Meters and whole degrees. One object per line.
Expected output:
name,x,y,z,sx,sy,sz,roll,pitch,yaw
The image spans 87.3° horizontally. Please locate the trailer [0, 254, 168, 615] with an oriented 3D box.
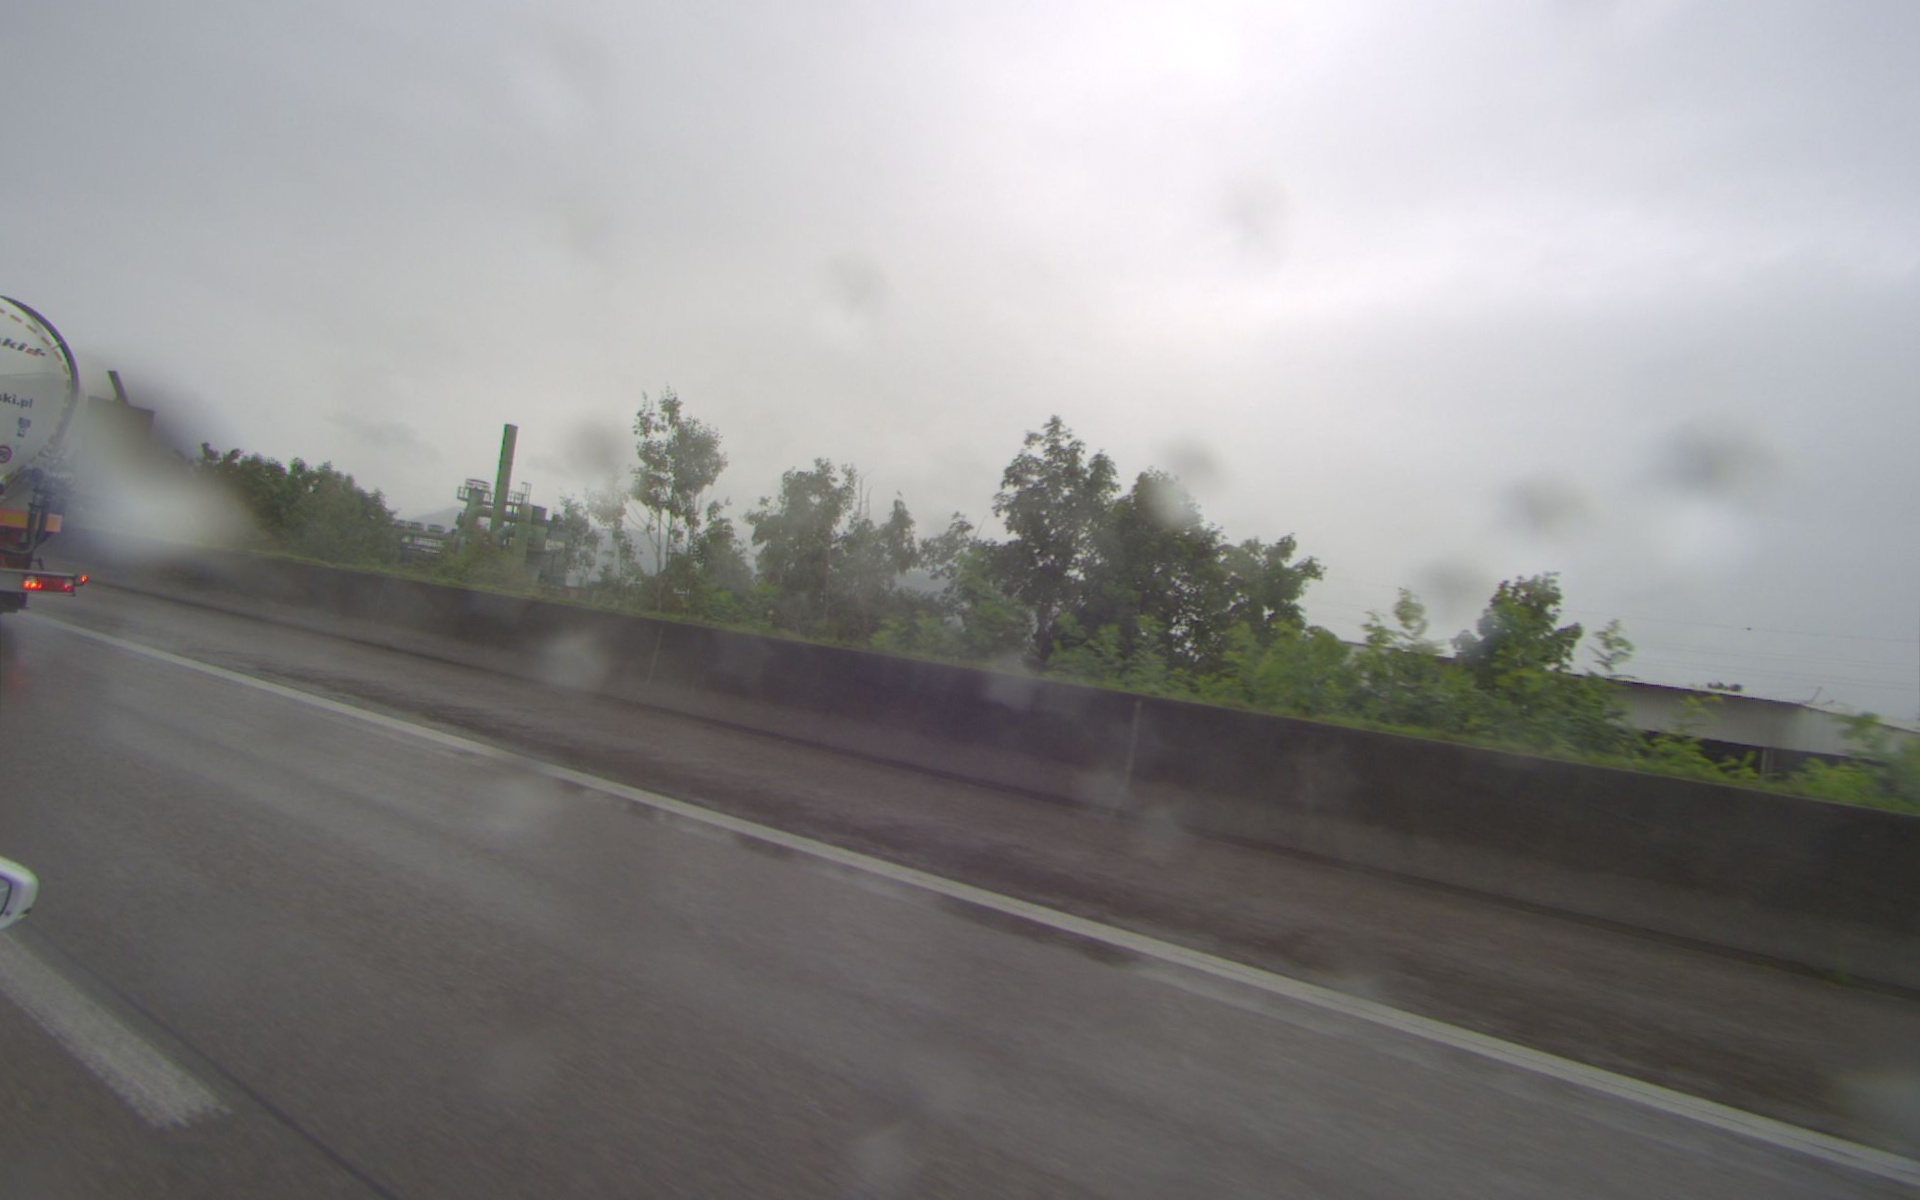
trailer,-15.231,-2.398,13.675,11.476,3.712,3.194,7,-2,33
